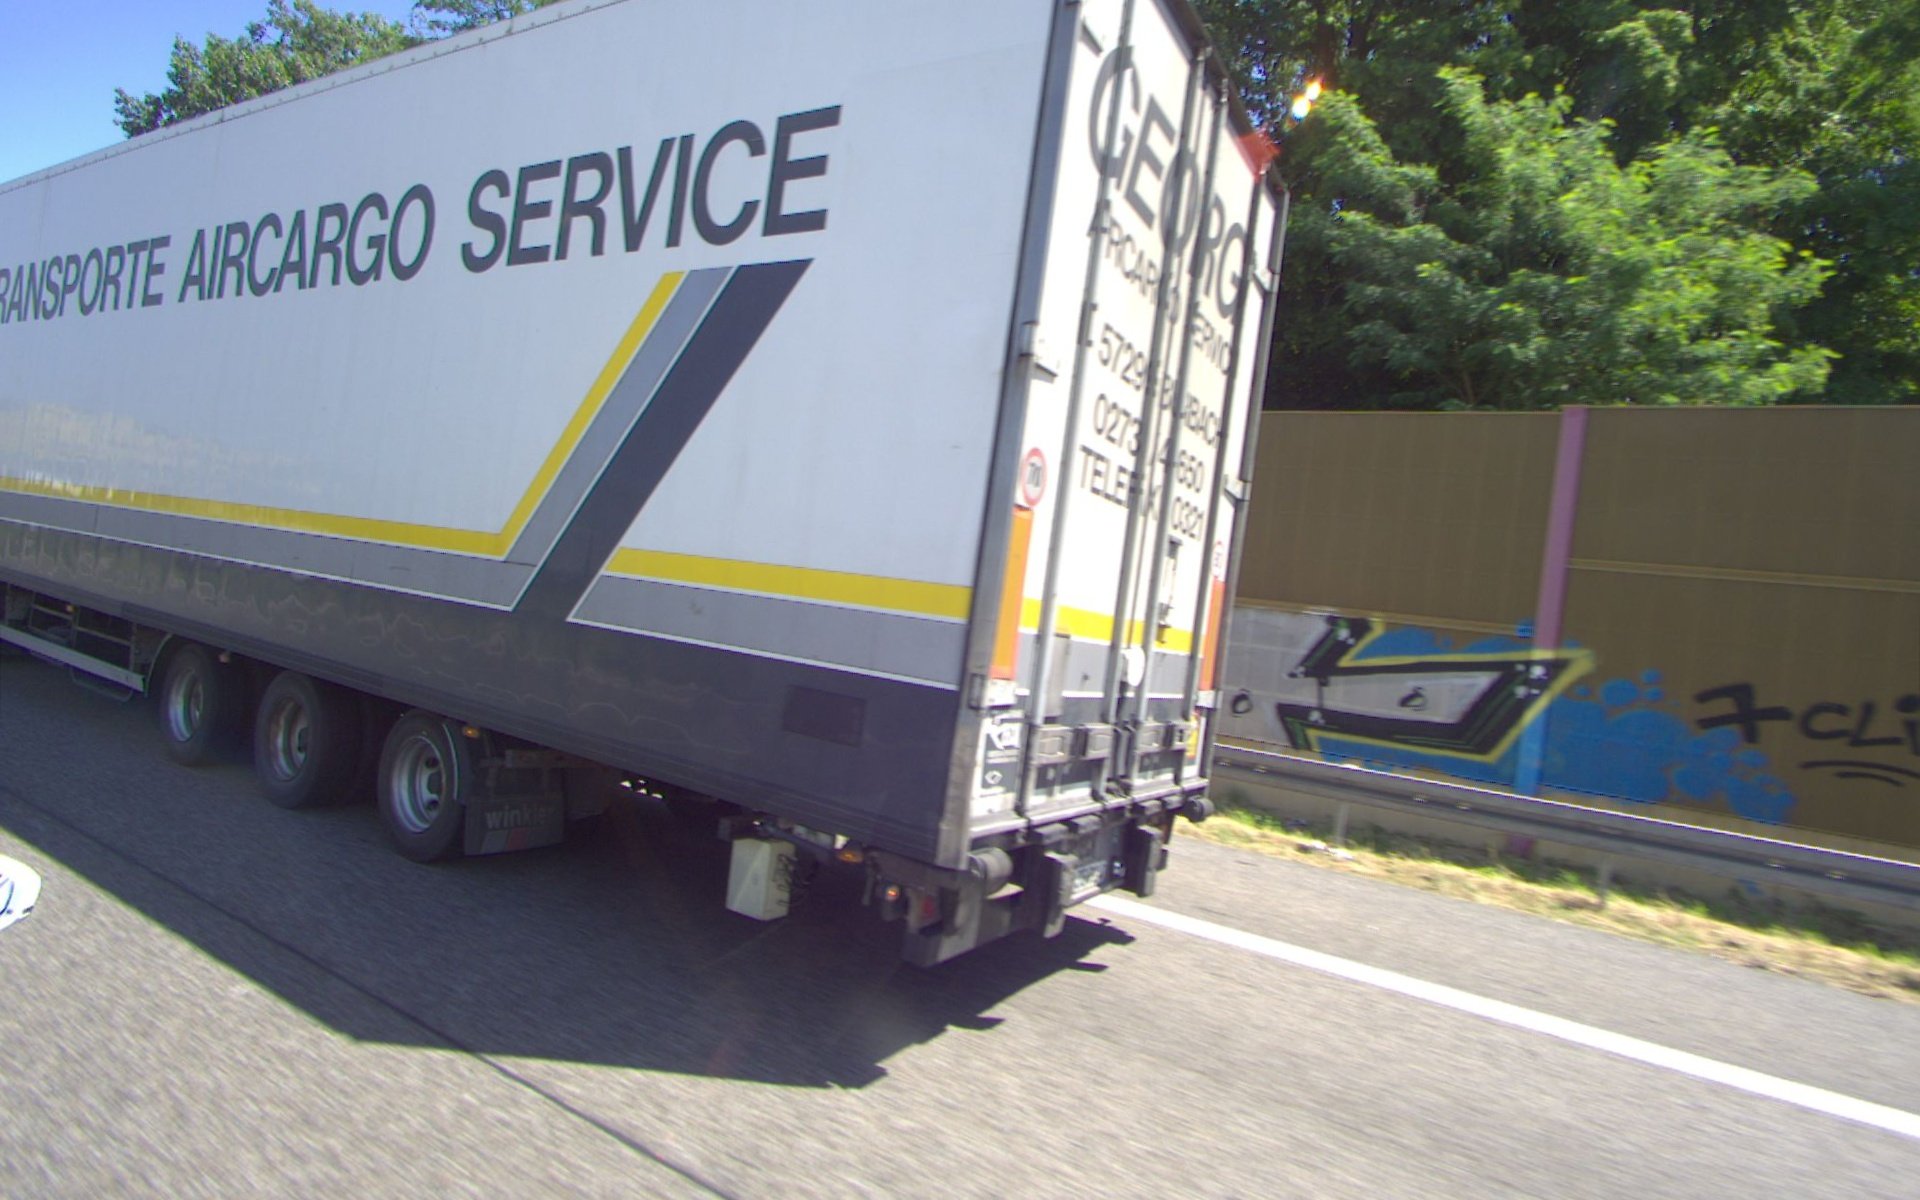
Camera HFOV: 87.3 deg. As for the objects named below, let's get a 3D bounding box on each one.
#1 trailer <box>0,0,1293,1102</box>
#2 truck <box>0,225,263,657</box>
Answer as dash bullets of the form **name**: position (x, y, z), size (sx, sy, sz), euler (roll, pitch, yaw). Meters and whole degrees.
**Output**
- **trailer**: position (-4.729, -1.100, 7.828), size (13.195, 4.339, 2.999), euler (6, -1, 31)
- **truck**: position (-11.432, -1.766, 11.942), size (5.165, 4.174, 3.007), euler (6, -1, 31)
